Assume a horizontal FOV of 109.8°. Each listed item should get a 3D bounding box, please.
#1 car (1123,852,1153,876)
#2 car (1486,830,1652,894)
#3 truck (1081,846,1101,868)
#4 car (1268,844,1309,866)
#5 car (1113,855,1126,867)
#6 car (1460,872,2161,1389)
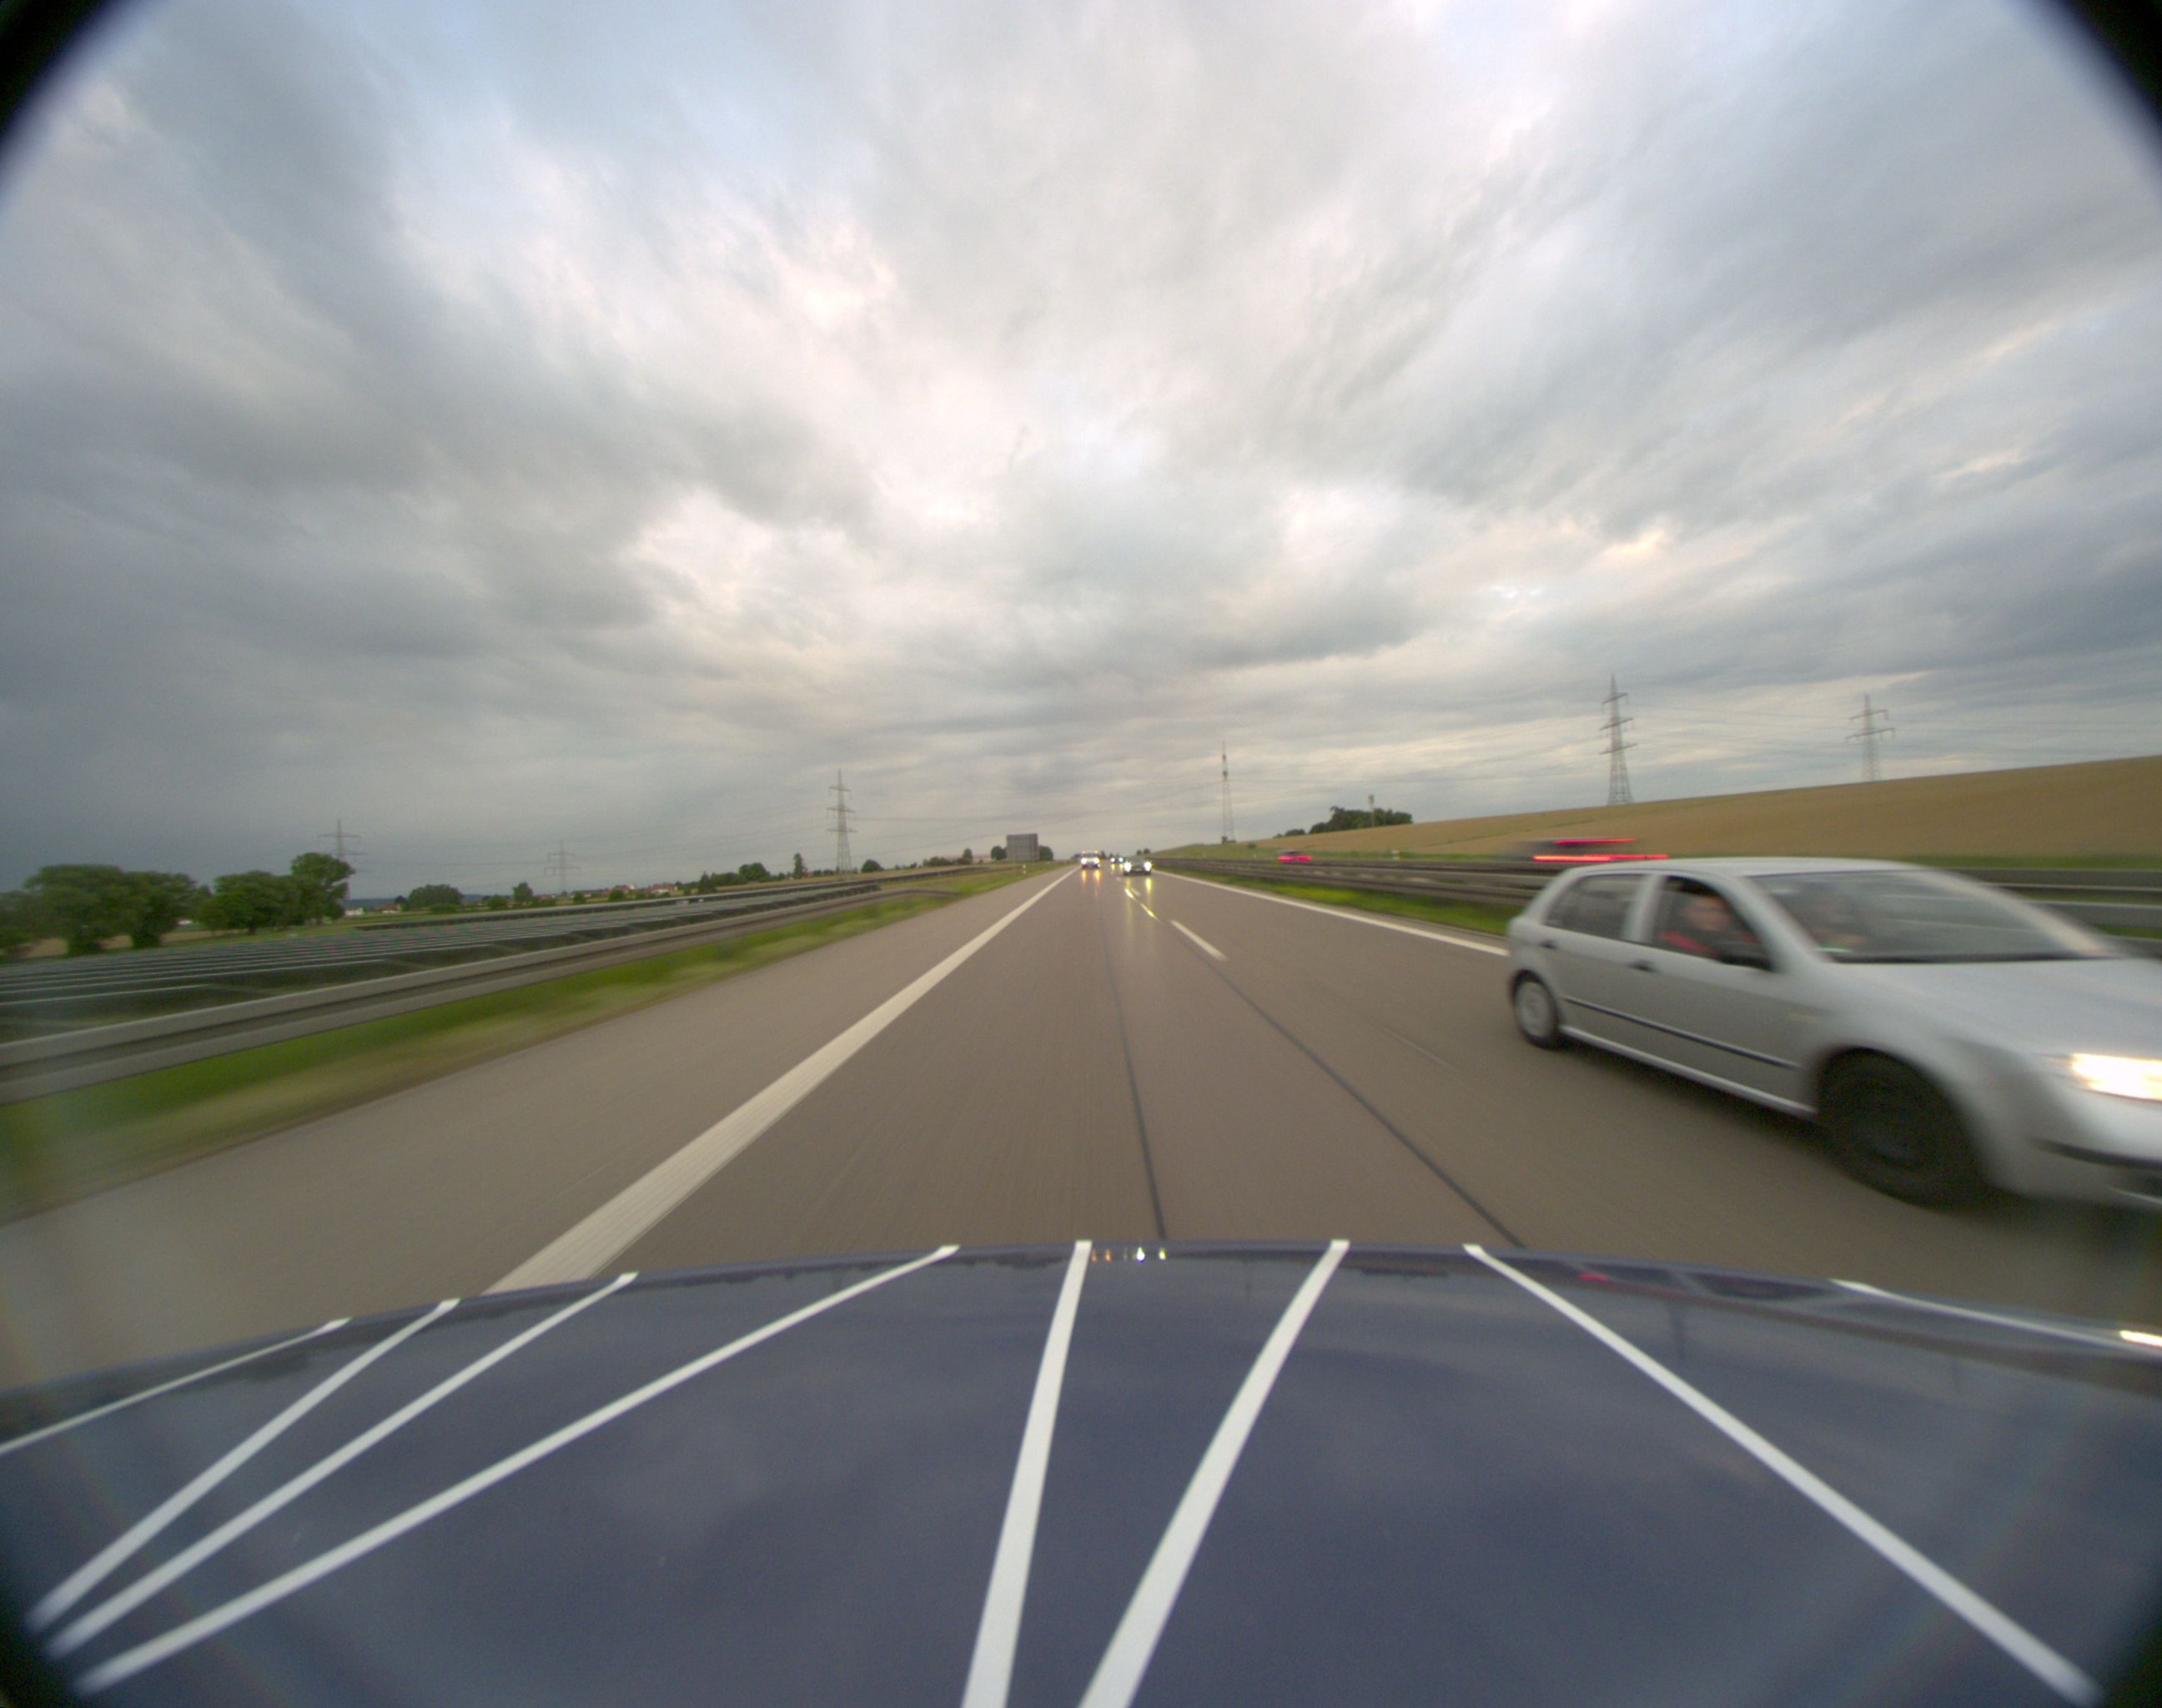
[{"bbox_3d":[4.289,0.711,57.513,1.951,1.619,4.536,-4,0,2],"label":"car"},{"bbox_3d":[13.036,0.221,20.662,1.664,1.432,4.130,-5,0,-2],"label":"car"},{"bbox_3d":[1.248,0.383,94.392,2.177,2.346,7.697,-5,0,1],"label":"truck"},{"bbox_3d":[14.178,0.070,52.209,1.570,1.357,4.620,-5,0,1],"label":"car"},{"bbox_3d":[7.145,1.367,141.868,1.998,2.002,4.461,-5,0,0],"label":"car"},{"bbox_3d":[4.022,0.879,4.137,1.592,1.381,4.601,-2,0,0],"label":"car"}]
